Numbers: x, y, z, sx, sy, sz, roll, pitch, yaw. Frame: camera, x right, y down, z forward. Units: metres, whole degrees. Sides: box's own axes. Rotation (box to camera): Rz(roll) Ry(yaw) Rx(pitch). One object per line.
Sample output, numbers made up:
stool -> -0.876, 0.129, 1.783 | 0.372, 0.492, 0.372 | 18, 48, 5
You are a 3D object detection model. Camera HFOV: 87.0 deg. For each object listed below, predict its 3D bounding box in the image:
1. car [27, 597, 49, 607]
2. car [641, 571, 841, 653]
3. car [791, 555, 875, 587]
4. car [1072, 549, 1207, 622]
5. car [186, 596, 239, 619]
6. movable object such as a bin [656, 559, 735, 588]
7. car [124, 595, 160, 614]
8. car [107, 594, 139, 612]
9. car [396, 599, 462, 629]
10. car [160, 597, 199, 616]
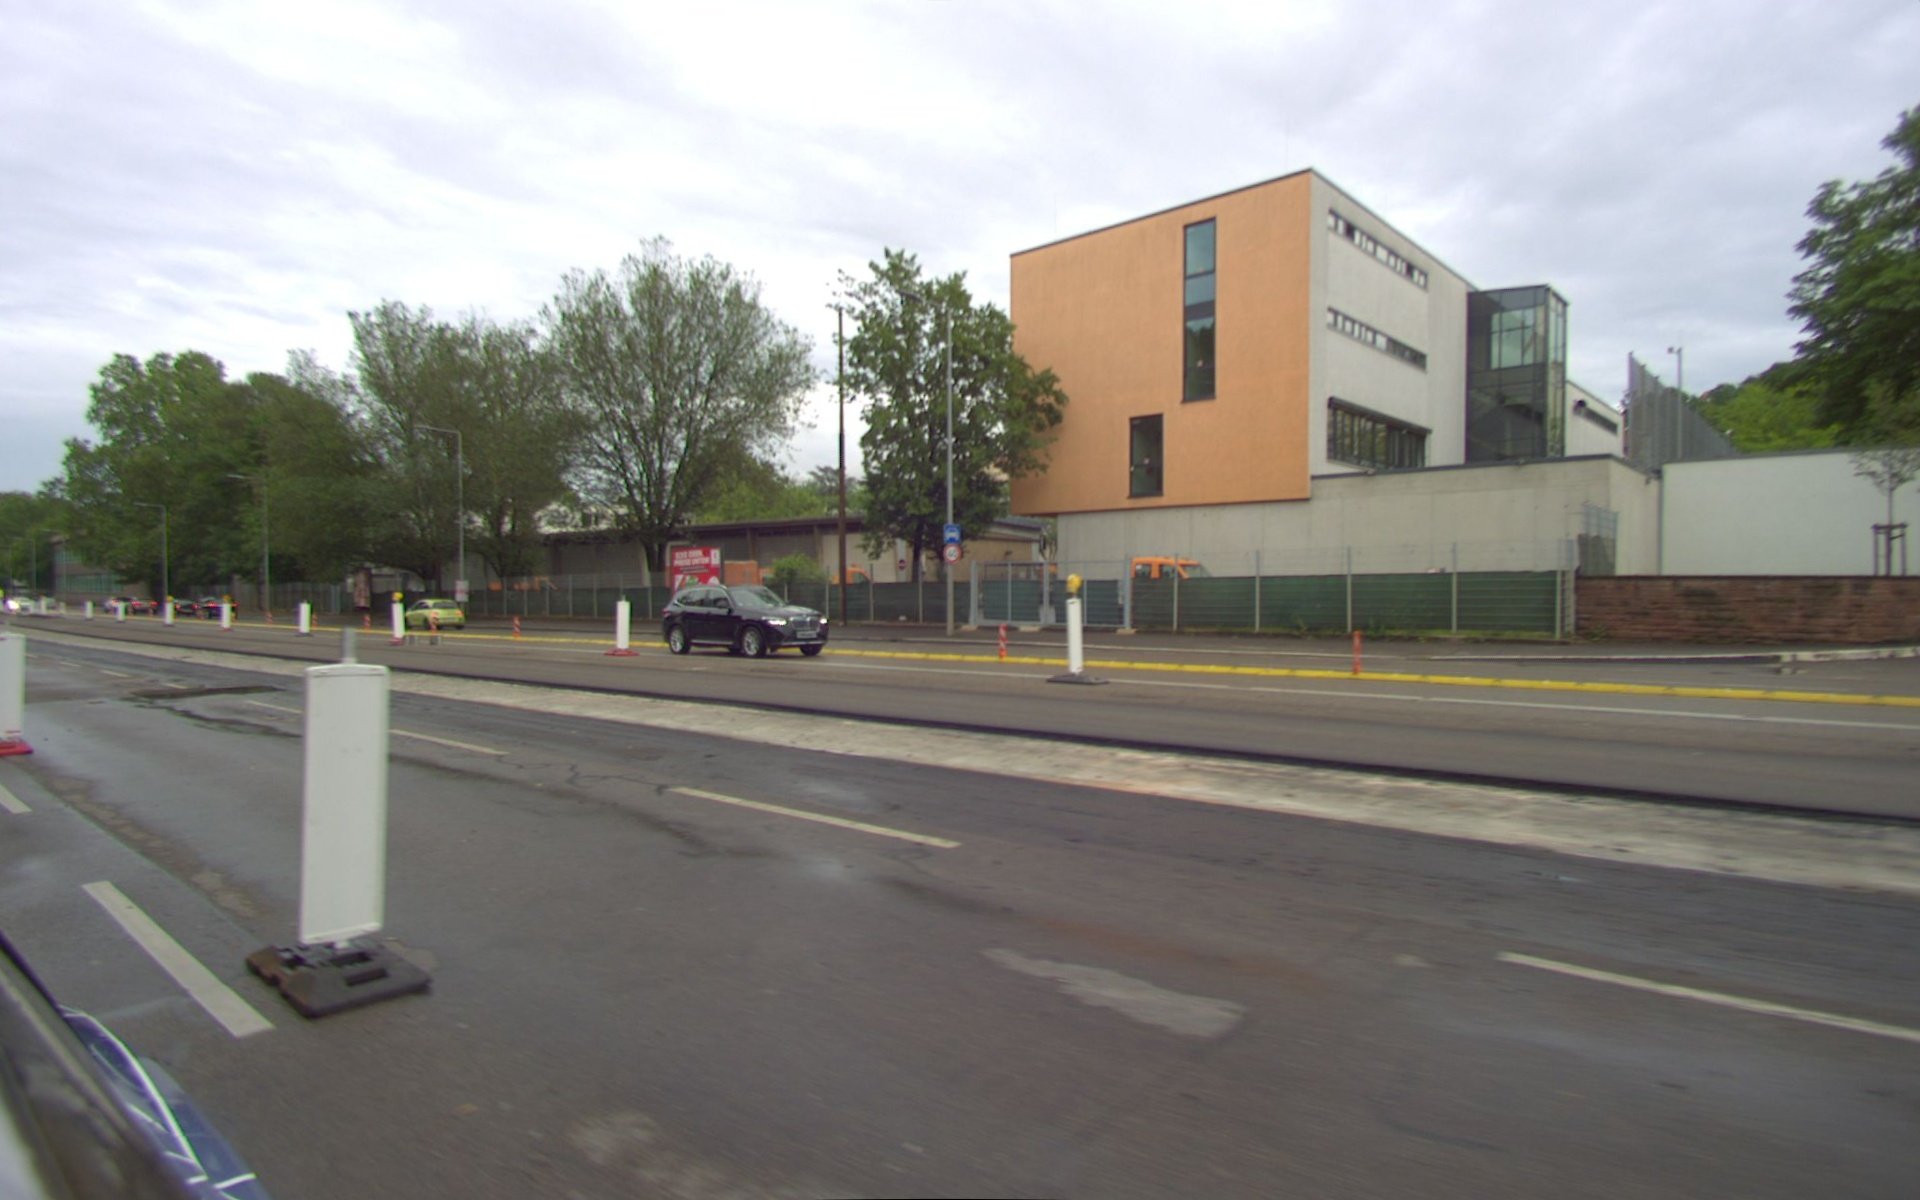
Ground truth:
car -> -119.741, 0.251, 131.480 | 4.454, 1.325, 1.649 | 1, 0, 42
car -> -5.192, 0.259, 23.596 | 4.981, 1.719, 1.973 | 0, -1, 41
car -> -6.262, -1.431, 49.812 | 3.957, 1.539, 2.005 | -1, 1, -11
car -> 5.667, -0.460, 32.226 | 3.997, 2.186, 1.594 | 1, 1, 40
car -> -56.063, 0.534, 75.894 | 4.318, 1.642, 1.843 | 1, 0, 35
movable object such as a bin -> -14.420, -1.450, 55.423 | 3.961, 1.539, 1.756 | -1, 1, -6
car -> -74.544, 0.438, 92.202 | 4.363, 1.631, 1.839 | 1, 0, 42
car -> -84.029, 0.254, 101.583 | 4.363, 1.719, 1.839 | 1, 0, 42
car -> -25.643, 0.642, 48.854 | 3.802, 1.378, 1.537 | 1, 0, 41
car -> -64.455, 0.567, 83.569 | 3.731, 1.487, 1.839 | 1, 0, 41
